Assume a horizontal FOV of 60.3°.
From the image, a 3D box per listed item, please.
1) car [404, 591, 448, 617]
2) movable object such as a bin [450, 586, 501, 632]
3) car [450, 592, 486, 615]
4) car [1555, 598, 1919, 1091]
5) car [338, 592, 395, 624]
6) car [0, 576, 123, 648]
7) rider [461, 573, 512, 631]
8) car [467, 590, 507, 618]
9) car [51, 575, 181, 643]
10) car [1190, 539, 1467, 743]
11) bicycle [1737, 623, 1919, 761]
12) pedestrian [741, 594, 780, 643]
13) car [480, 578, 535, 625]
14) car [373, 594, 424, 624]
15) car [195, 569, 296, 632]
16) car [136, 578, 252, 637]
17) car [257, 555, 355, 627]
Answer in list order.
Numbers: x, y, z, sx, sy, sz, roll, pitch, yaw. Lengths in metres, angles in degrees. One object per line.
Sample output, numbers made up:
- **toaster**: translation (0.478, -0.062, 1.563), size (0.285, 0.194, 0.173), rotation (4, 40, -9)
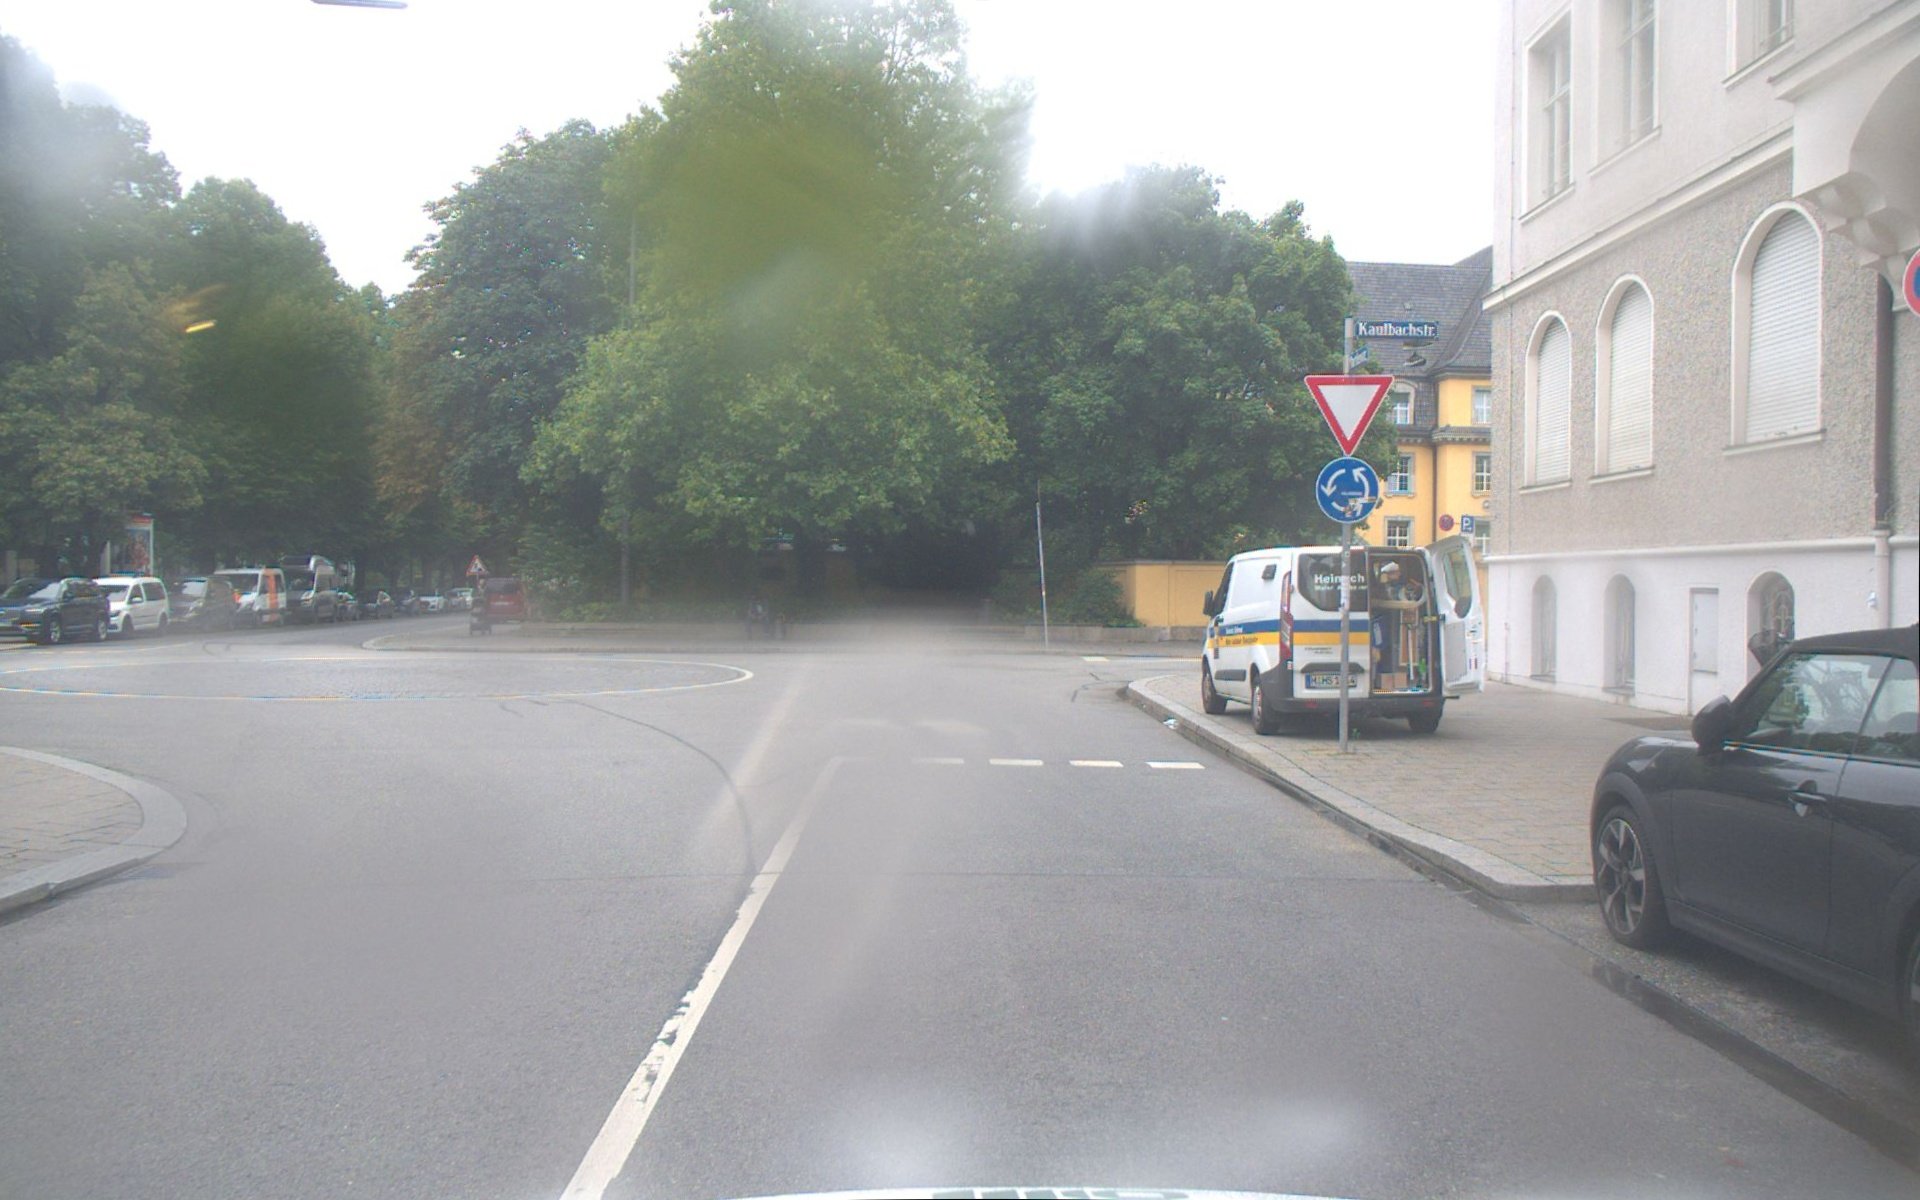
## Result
- **car**: translation (-33.170, 0.227, 102.844), size (1.859, 1.599, 4.068), rotation (0, 0, -7)
- **movable object such as a bin**: translation (-14.258, 0.262, 48.656), size (1.055, 1.289, 1.087), rotation (-2, 0, 6)
- **car**: translation (-35.233, 0.226, 118.529), size (1.859, 1.599, 4.068), rotation (0, 0, -7)
- **car**: translation (3.743, 0.754, 6.158), size (1.630, 1.483, 3.896), rotation (0, 0, -1)
- **car**: translation (-29.825, 0.385, 83.220), size (1.859, 1.565, 4.068), rotation (0, 0, -7)
- **car**: translation (-24.354, 0.297, 44.080), size (2.025, 1.798, 4.900), rotation (0, 0, -6)
- **rider**: translation (-14.173, 0.055, 49.523), size (1.059, 1.696, 1.140), rotation (-2, 0, 6)
- **car**: translation (-25.804, 0.195, 90.317), size (1.756, 1.518, 3.989), rotation (0, 0, -11)
- **car**: translation (-25.141, 0.254, 49.457), size (1.889, 1.928, 4.859), rotation (0, 0, -7)
- **car**: translation (4.023, 0.385, 18.946), size (1.877, 1.996, 4.925), rotation (-1, 0, -2)
- **bicycle**: translation (8.142, 0.809, 15.416), size (0.680, 1.113, 2.282), rotation (-2, 0, -1)
- **pedestrian**: translation (-5.032, 0.451, 41.709), size (0.794, 1.209, 0.920), rotation (0, 0, 5)
- **car**: translation (-19.340, 0.045, 70.817), size (2.005, 1.956, 4.433), rotation (0, 0, -12)
- **car**: translation (-31.104, 0.491, 91.684), size (1.859, 1.599, 4.068), rotation (0, 0, -7)
- **car**: translation (-27.178, 0.026, 63.140), size (2.070, 2.290, 5.188), rotation (0, 0, -6)
- **car**: translation (-25.871, 0.233, 56.048), size (2.025, 1.891, 4.980), rotation (0, 0, -6)
- **car**: translation (-28.518, -0.373, 72.417), size (2.290, 2.973, 6.570), rotation (0, 0, -6)
